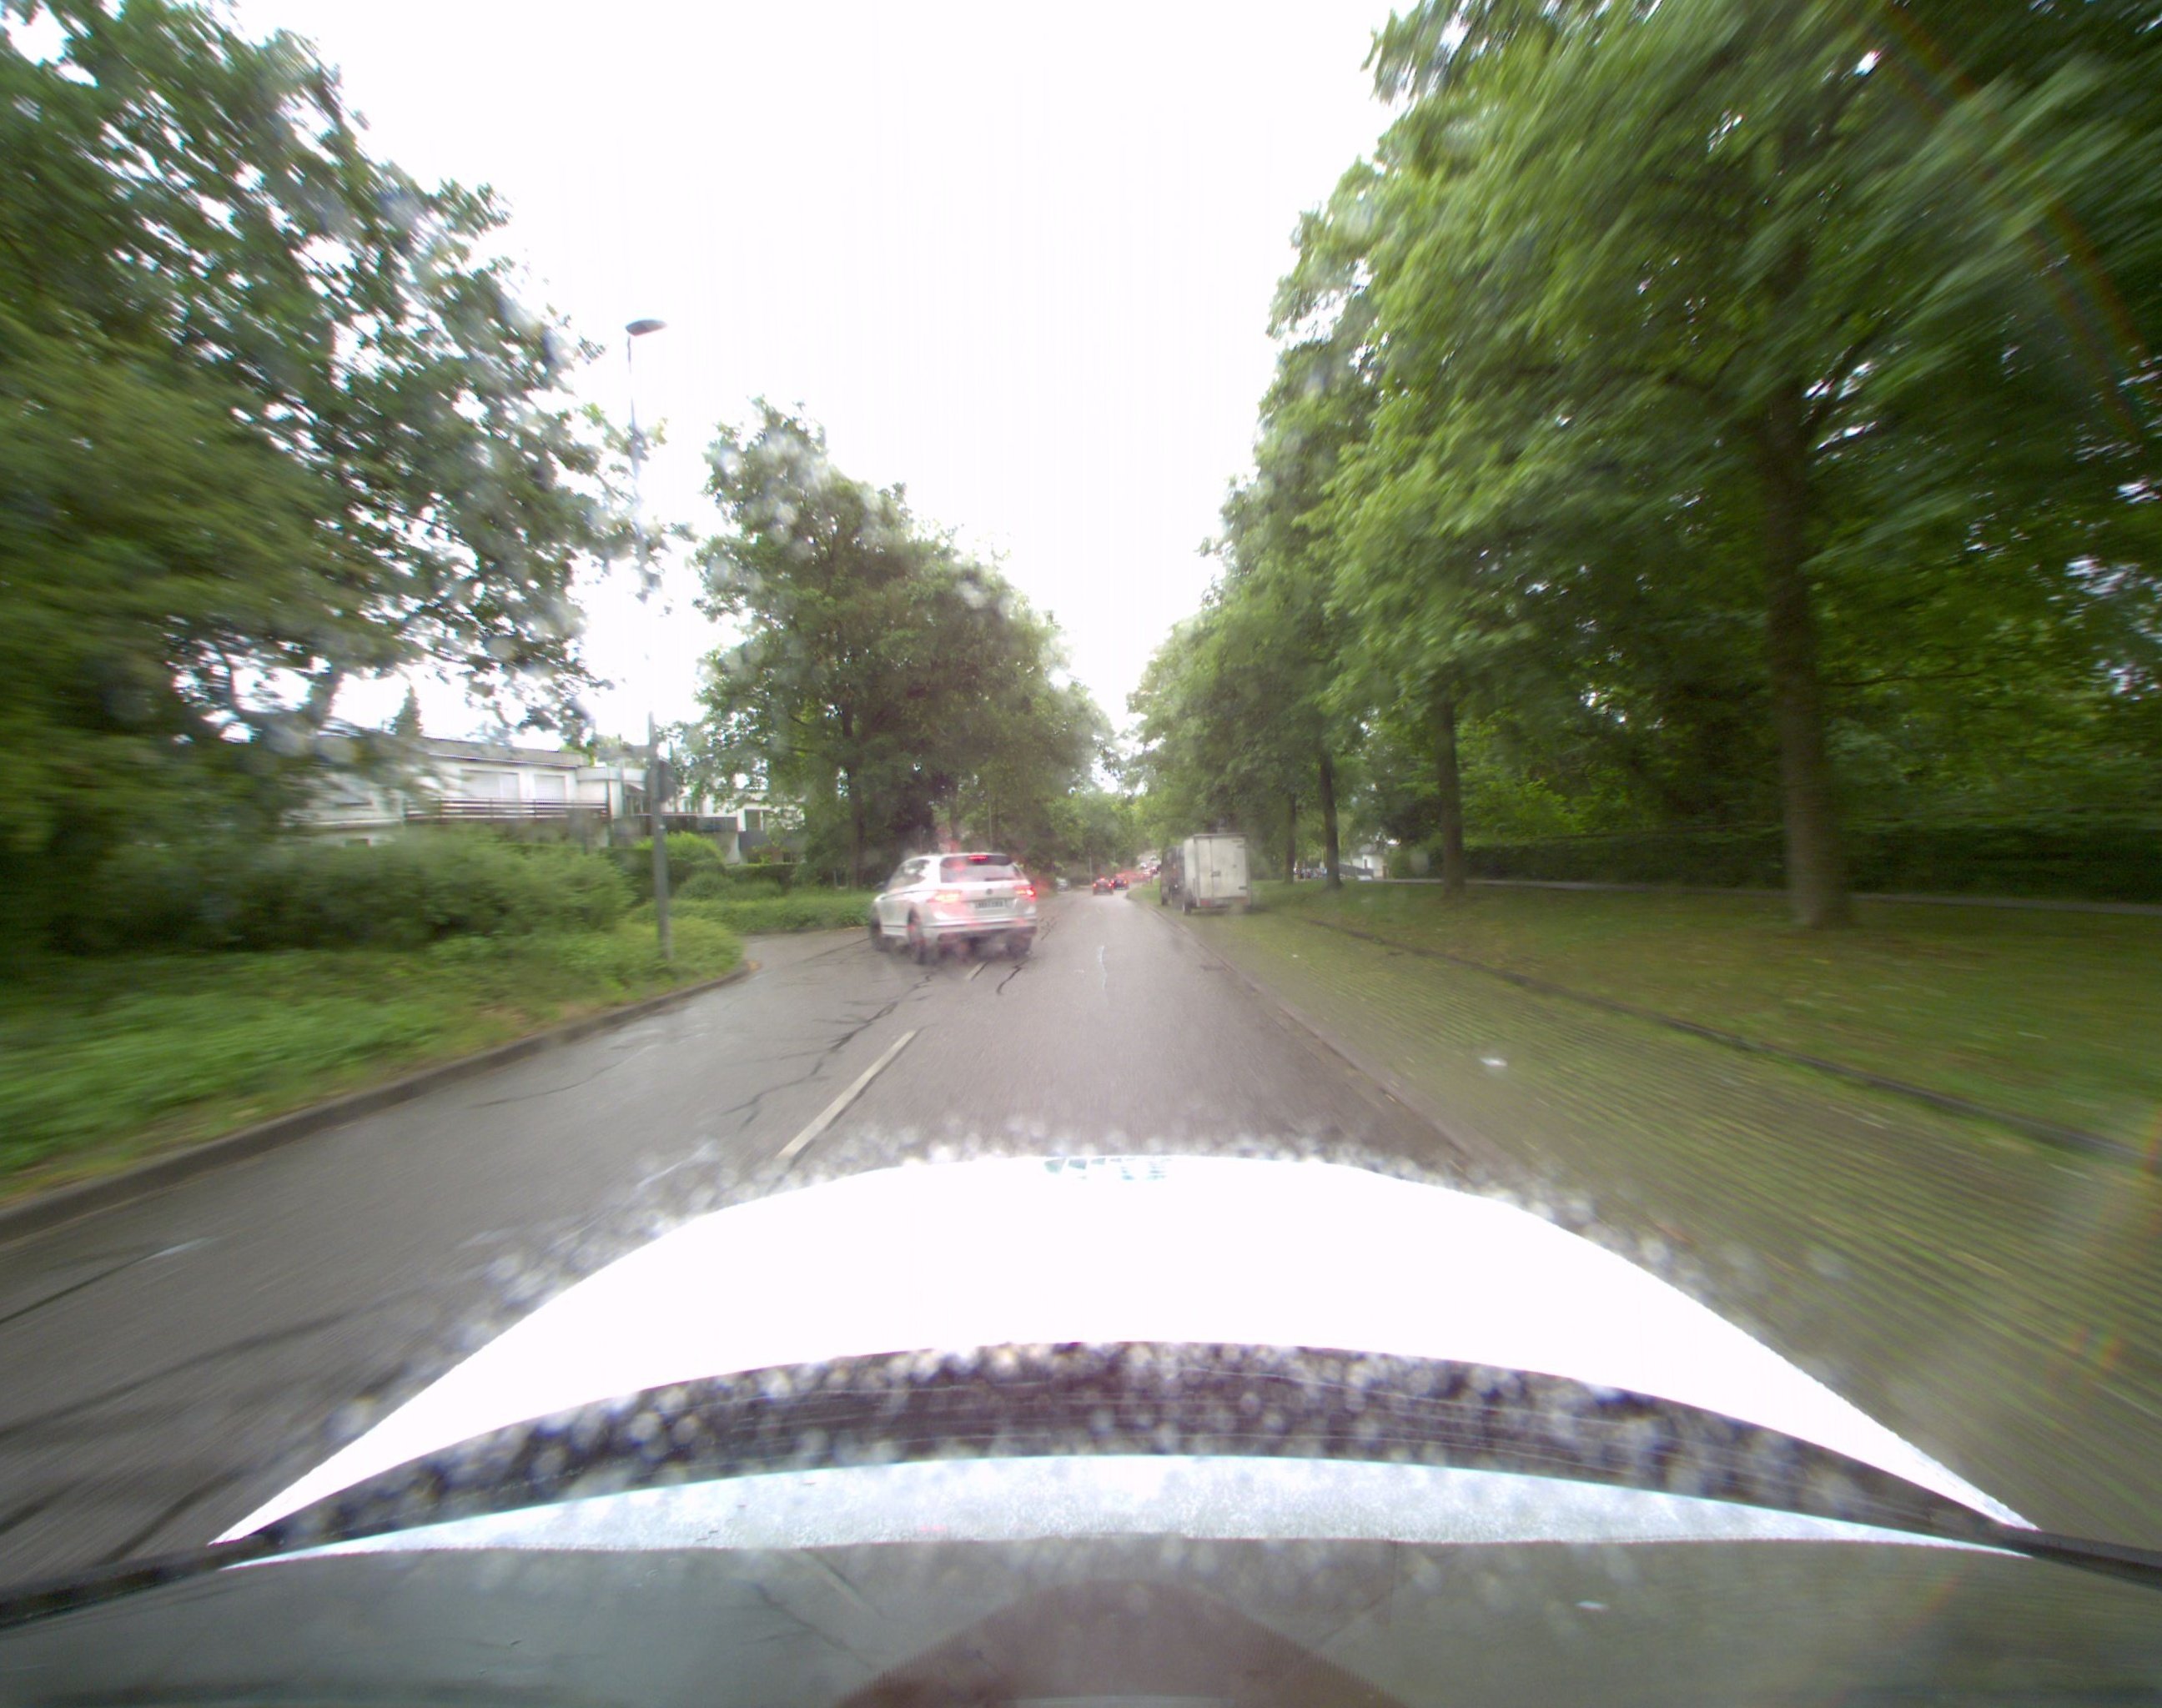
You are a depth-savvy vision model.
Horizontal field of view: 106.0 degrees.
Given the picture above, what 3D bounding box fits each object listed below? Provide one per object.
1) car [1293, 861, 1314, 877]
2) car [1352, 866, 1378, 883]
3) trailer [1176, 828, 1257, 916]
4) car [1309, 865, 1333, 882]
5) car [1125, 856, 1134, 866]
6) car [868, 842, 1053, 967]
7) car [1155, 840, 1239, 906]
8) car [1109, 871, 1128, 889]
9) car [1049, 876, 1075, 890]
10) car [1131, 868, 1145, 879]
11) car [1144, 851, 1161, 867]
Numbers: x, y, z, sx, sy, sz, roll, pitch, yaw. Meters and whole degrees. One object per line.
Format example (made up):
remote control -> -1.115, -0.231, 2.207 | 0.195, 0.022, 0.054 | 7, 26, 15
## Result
car -> 32.693, 2.203, 119.946 | 1.986, 2.013, 4.002 | -3, 1, 2
car -> 29.189, 2.088, 83.881 | 1.797, 1.631, 4.010 | -2, -2, 9
trailer -> 3.595, 0.475, 22.183 | 1.524, 2.075, 4.001 | -3, -1, 1
car -> 31.592, 2.512, 107.206 | 1.986, 2.013, 4.002 | -3, 1, 2
car -> 11.592, 1.620, 193.607 | 1.985, 2.013, 4.004 | -2, 4, 3
car -> -2.196, 0.766, 13.717 | 1.915, 1.685, 4.165 | -2, -1, -25
car -> 3.706, 0.626, 27.005 | 1.987, 1.910, 5.508 | -2, -1, 0
car -> 4.335, 3.015, 94.544 | 1.987, 2.014, 3.998 | -2, -2, 0
car -> -2.195, 3.389, 95.391 | 1.980, 1.599, 4.023 | -2, -2, 12
car -> 8.705, 3.042, 125.497 | 1.850, 1.692, 3.998 | -2, -2, 0
car -> 9.934, 0.711, 113.357 | 1.987, 2.014, 3.999 | -2, -2, 0
